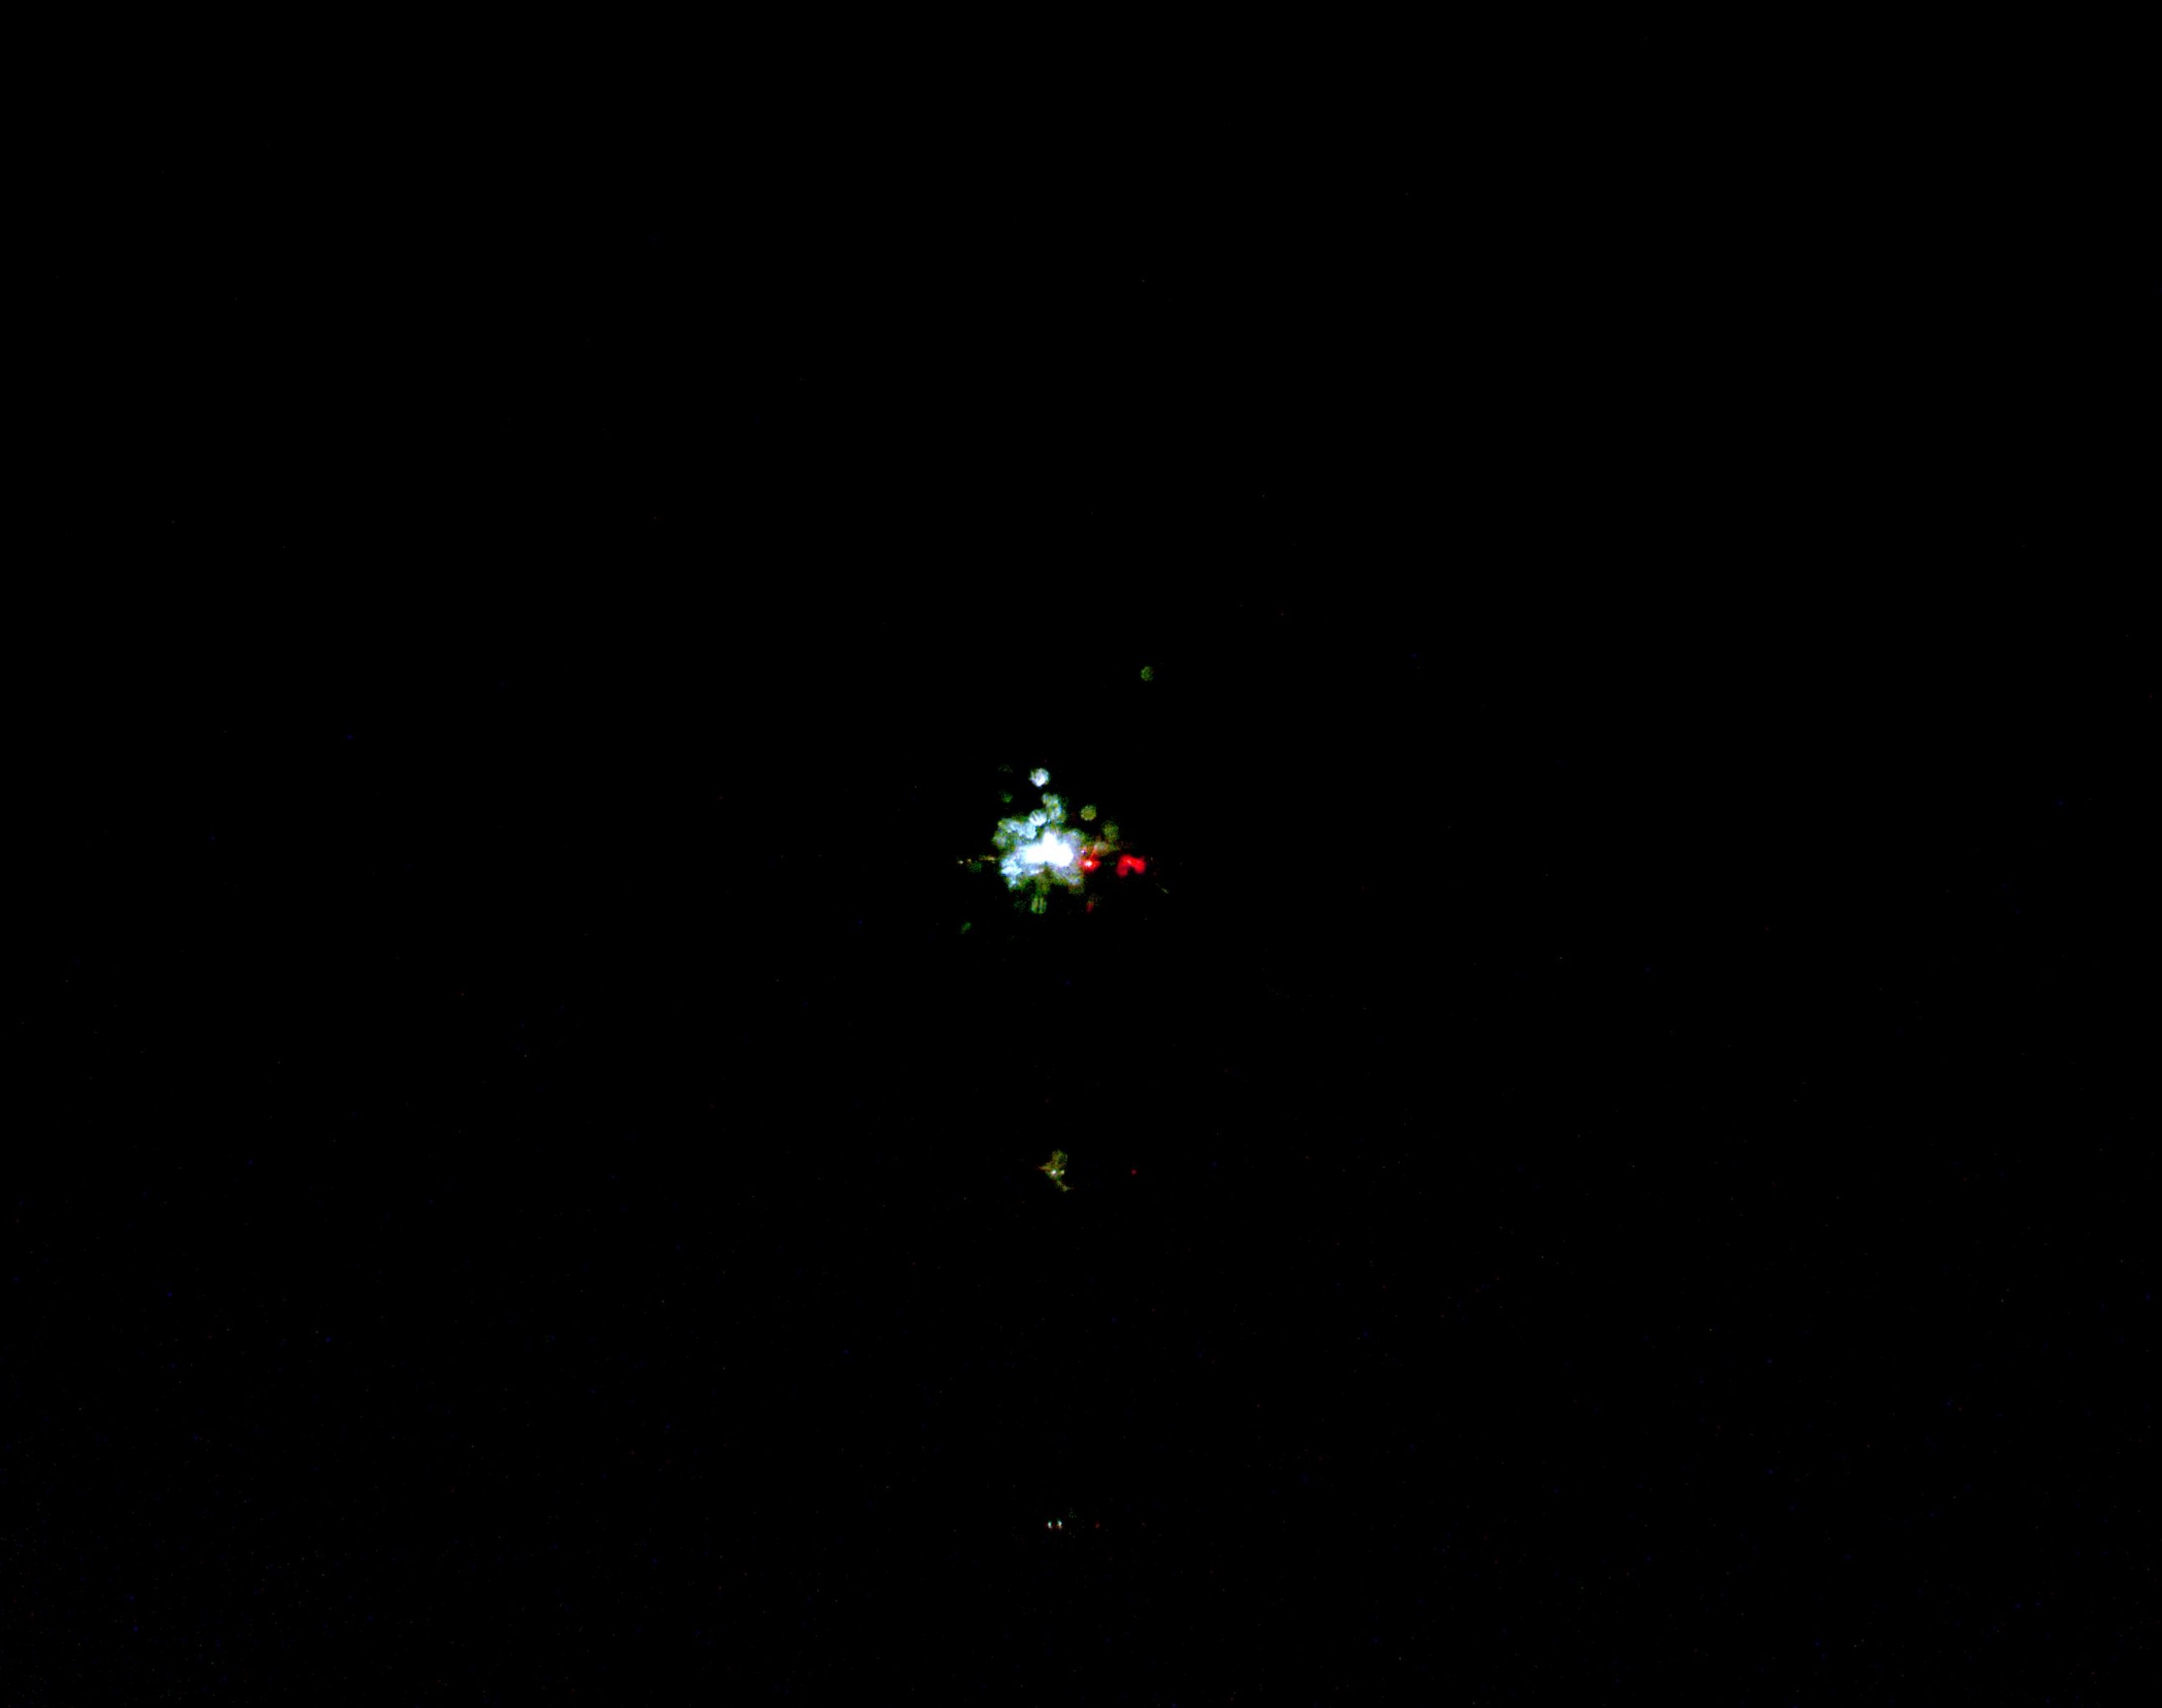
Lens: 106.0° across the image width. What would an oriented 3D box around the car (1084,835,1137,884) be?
[{"bbox_3d":[1.234,0.168,33.201,1.986,1.806,3.920,-1,2,2],"label":"car"}]
